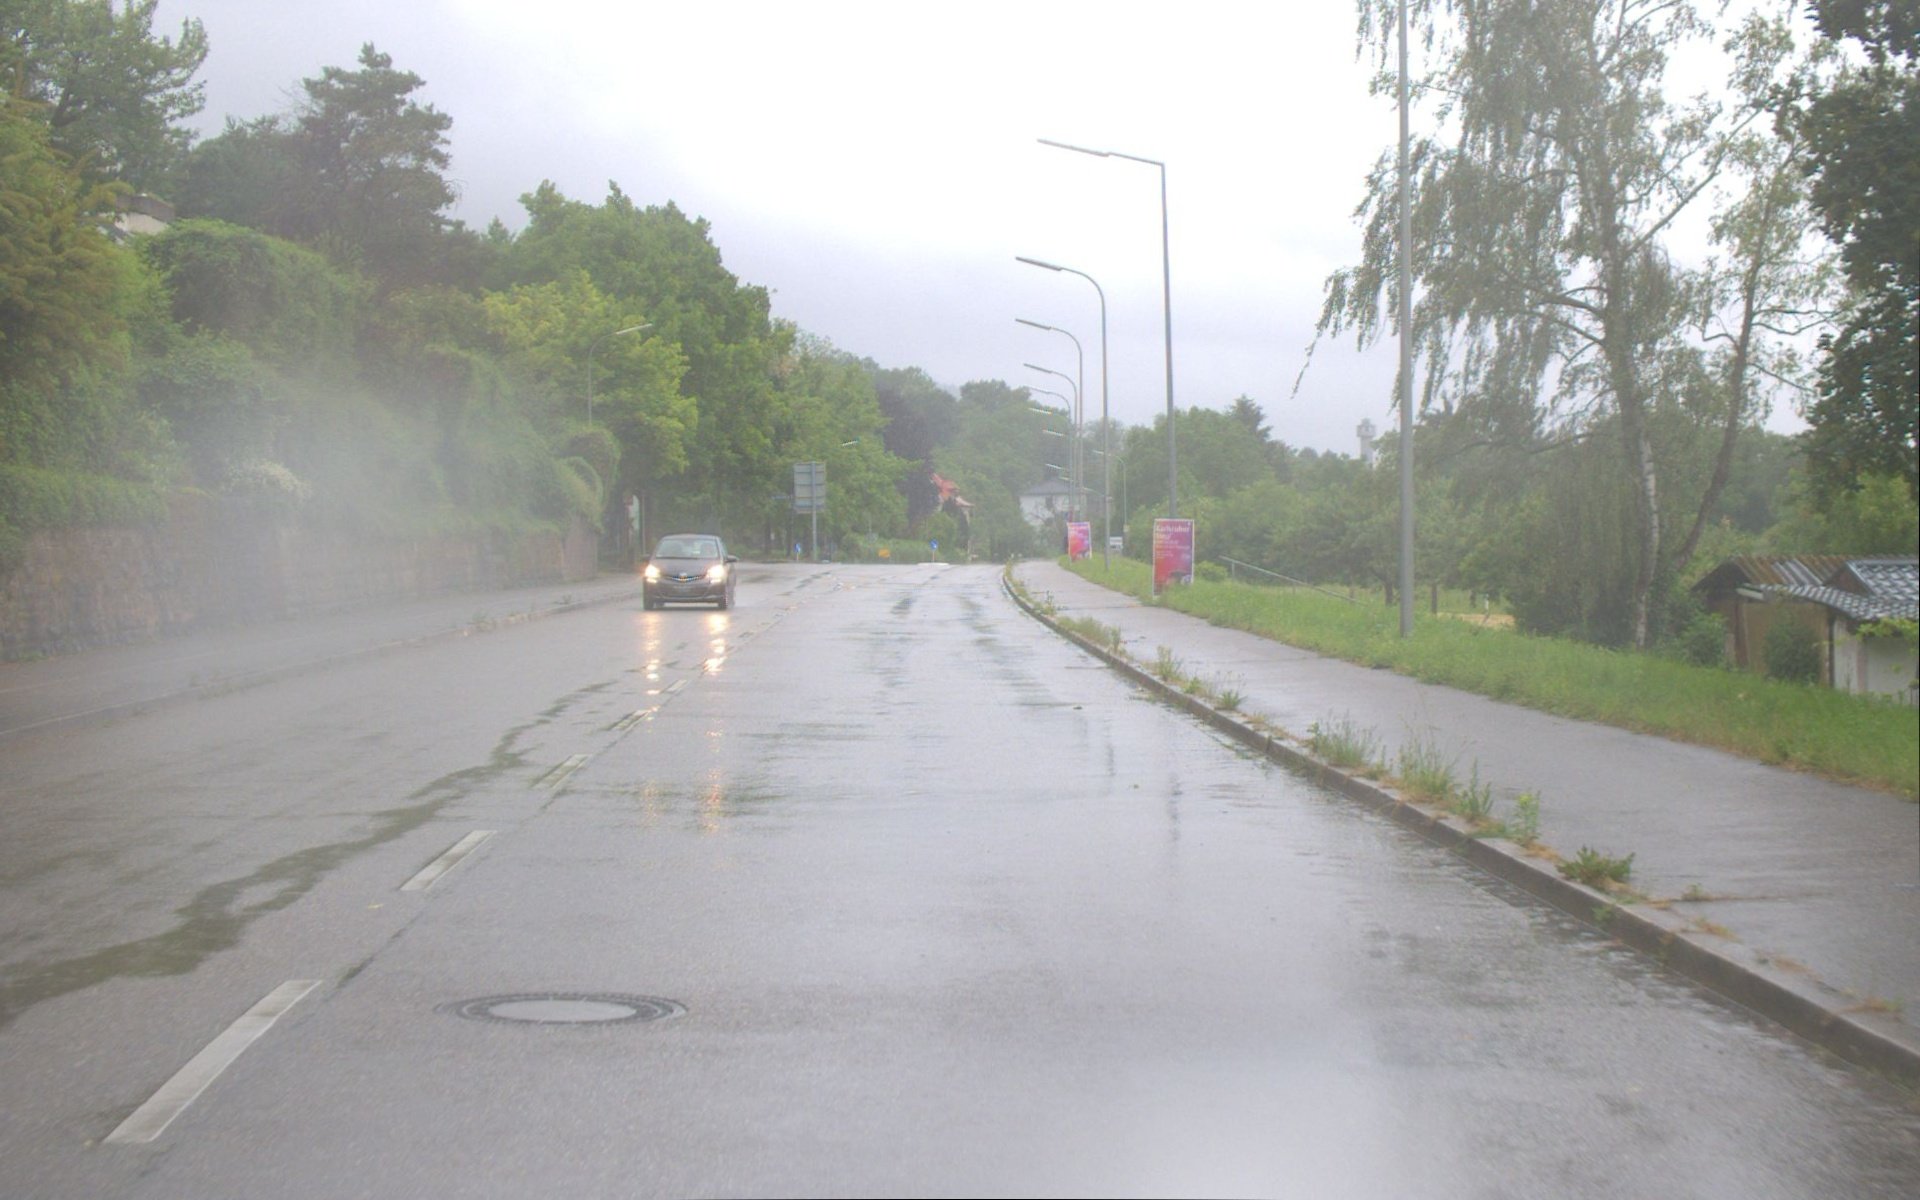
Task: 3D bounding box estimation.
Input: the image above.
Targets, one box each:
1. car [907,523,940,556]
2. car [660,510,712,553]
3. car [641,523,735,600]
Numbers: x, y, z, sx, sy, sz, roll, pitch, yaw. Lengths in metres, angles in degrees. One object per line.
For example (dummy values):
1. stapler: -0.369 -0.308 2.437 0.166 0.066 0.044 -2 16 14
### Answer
1. car: -2.279 -3.693 211.718 1.993 2.007 4.000 0 1 -1
2. car: -9.653 -2.409 121.248 1.727 1.491 3.988 -1 1 -4
3. car: -5.507 -0.796 69.935 1.759 1.491 4.128 -1 1 -3
